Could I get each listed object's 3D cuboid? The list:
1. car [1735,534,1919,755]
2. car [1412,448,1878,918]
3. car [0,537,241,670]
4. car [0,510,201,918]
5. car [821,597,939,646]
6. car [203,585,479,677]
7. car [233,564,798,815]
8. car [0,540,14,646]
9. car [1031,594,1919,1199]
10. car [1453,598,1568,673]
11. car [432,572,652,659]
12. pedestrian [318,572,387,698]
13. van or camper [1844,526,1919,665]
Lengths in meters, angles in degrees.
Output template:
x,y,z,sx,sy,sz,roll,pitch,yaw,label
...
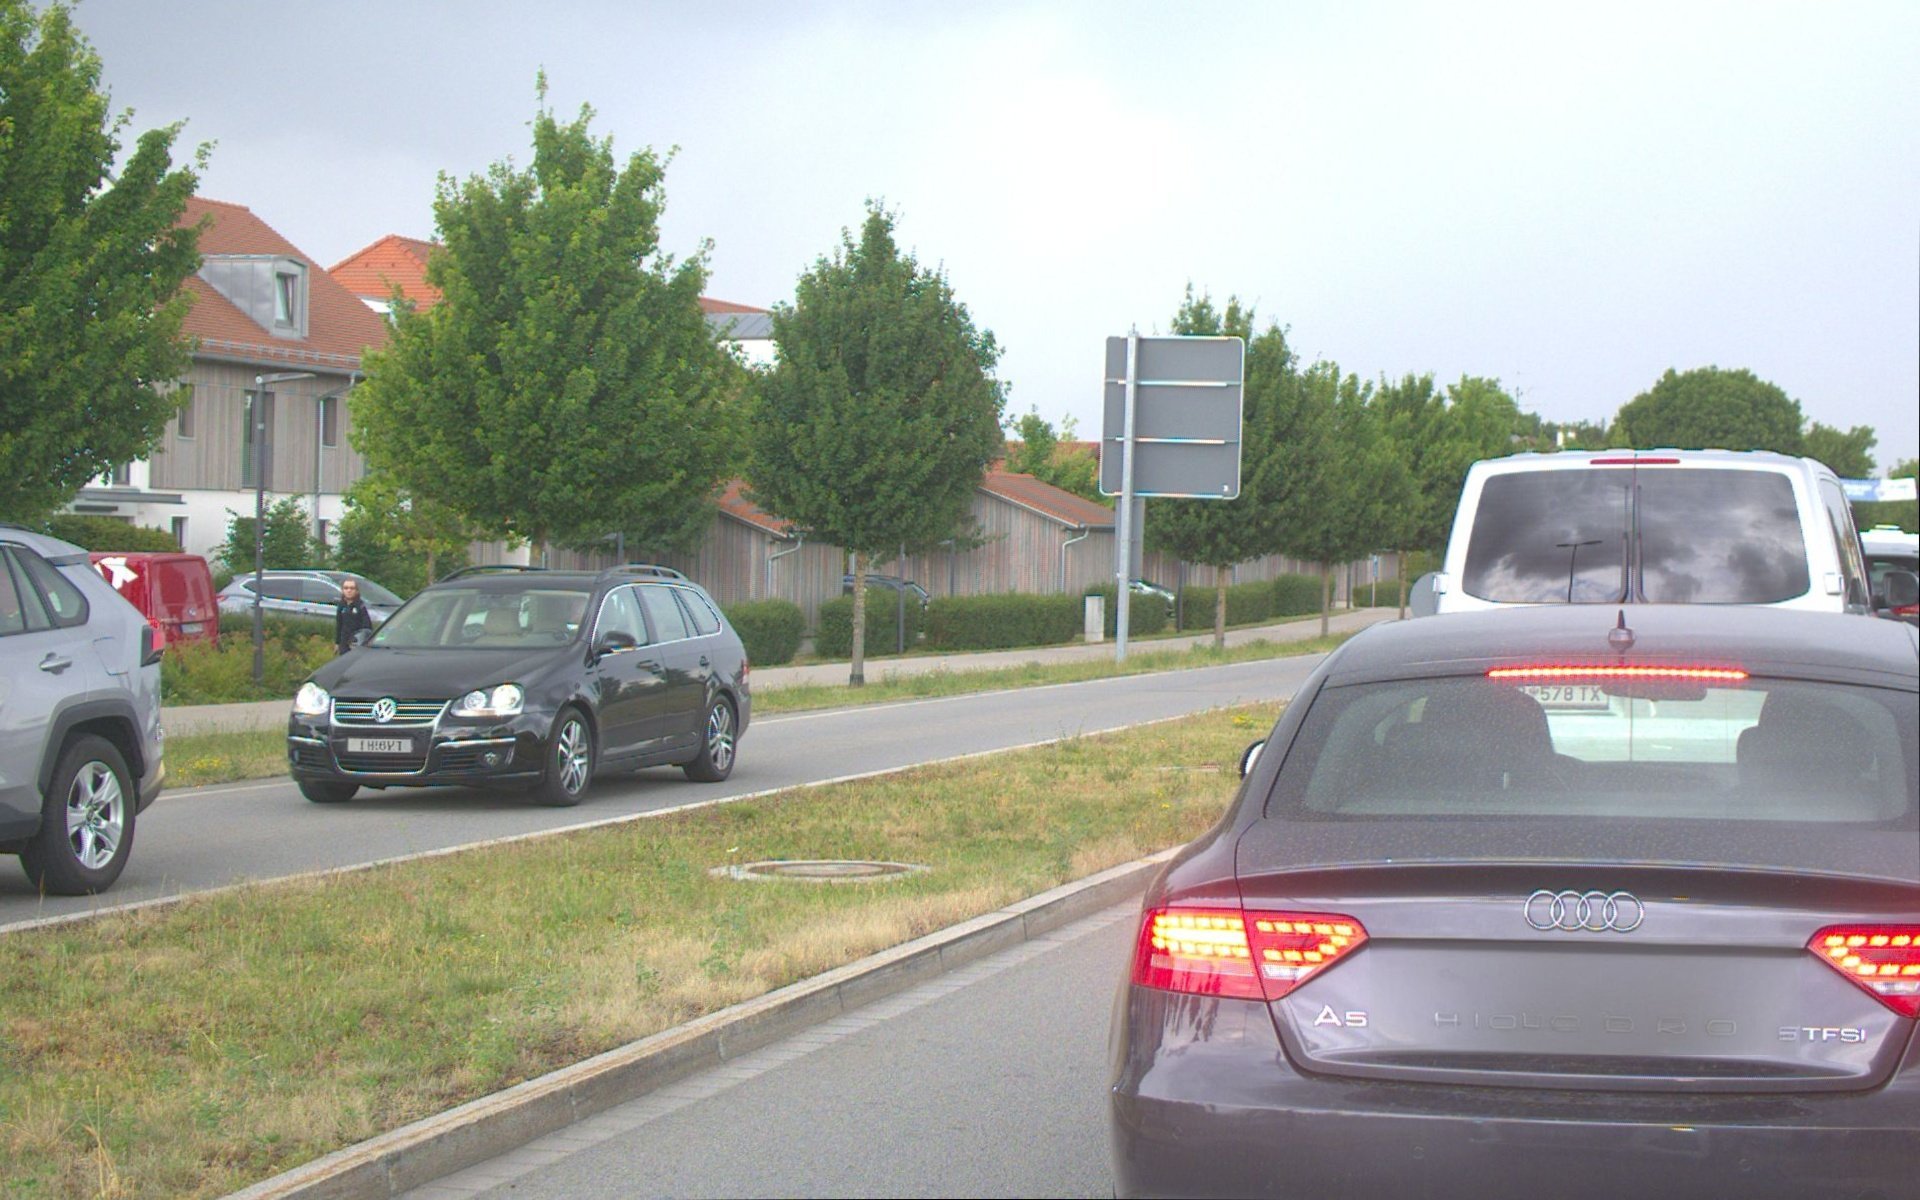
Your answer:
x,y,z,sx,sy,sz,roll,pitch,yaw,label
7.285,0.318,27.708,1.778,1.612,3.997,2,1,16,car
3.311,0.333,16.260,1.868,1.927,3.998,-1,0,14,car
-12.345,0.005,46.943,4.535,1.674,1.998,2,1,19,car
-5.130,0.483,13.994,1.995,1.698,4.631,0,0,16,car
-1.823,0.483,78.655,2.473,1.025,1.185,2,1,11,car
-9.919,0.480,55.172,3.917,1.310,1.841,2,1,14,car
-2.715,0.495,22.121,1.755,1.411,4.451,1,1,20,car
-17.697,-0.153,56.202,1.996,1.766,4.460,2,0,21,car
1.482,0.724,7.276,1.785,1.387,4.130,2,1,14,car
11.389,0.713,70.926,1.731,1.405,4.202,2,1,17,car
-7.867,0.279,64.774,3.731,1.477,1.685,2,1,13,car
-7.617,0.434,43.116,0.582,1.553,0.659,2,1,14,pedestrian
23.756,-0.085,86.622,2.627,3.312,6.816,2,0,15,van or camper
